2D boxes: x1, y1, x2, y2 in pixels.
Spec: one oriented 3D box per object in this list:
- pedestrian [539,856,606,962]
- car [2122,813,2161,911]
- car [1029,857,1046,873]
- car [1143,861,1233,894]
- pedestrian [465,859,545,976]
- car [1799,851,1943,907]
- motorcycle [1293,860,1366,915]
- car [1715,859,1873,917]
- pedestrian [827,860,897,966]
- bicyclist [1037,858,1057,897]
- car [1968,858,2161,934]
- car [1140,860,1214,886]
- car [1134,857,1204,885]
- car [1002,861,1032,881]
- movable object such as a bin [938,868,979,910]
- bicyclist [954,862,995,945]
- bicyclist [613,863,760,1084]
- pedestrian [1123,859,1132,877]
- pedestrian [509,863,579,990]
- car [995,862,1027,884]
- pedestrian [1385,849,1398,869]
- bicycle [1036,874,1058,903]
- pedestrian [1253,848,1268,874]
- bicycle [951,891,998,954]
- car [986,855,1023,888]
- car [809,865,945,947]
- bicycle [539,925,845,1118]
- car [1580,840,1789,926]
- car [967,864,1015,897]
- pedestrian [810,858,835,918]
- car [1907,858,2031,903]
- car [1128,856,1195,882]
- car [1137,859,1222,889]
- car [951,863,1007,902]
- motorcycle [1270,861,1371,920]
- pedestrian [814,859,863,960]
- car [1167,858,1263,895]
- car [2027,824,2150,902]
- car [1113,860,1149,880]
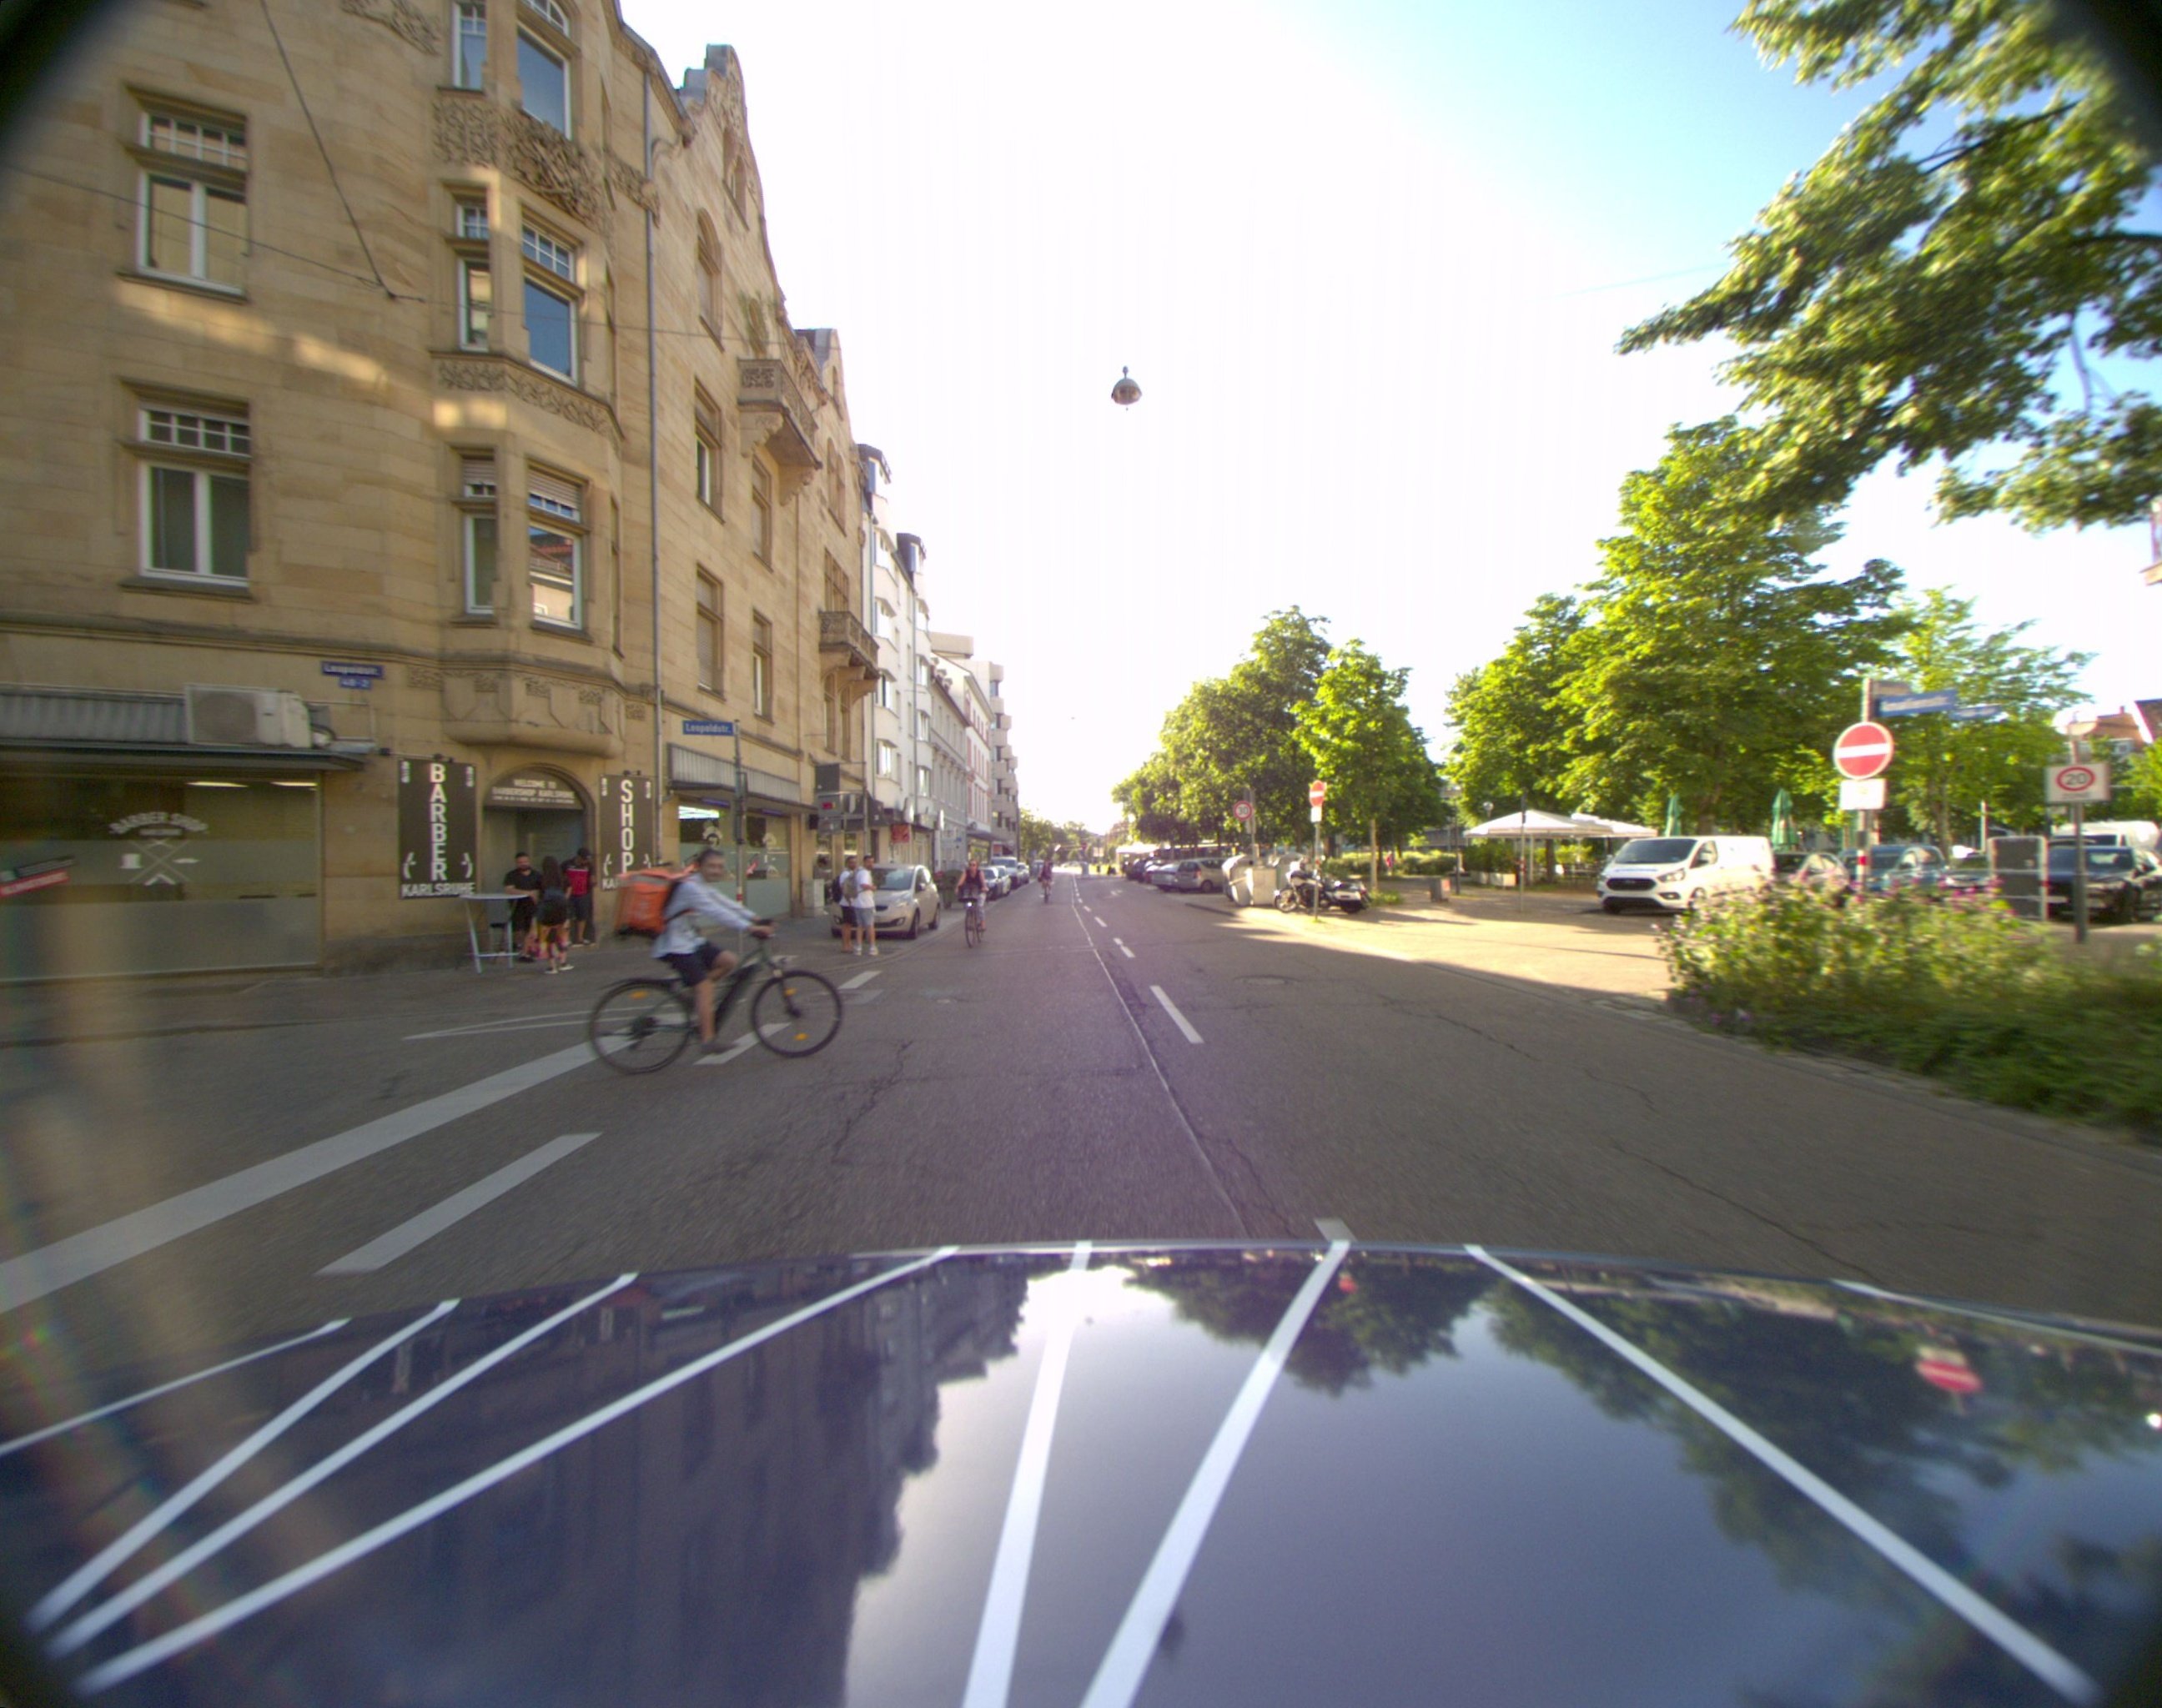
[{"bbox_3d":[-8.357,0.877,12.497,0.498,1.682,0.717,-1,1,26],"label":"pedestrian"},{"bbox_3d":[33.092,0.241,22.078,7.030,2.685,2.209,1,-1,-27],"label":"car"},{"bbox_3d":[-5.783,1.466,100.951,1.999,2.002,4.000,-1,0,-1],"label":"car"},{"bbox_3d":[5.260,1.109,37.228,4.007,1.433,1.995,-1,0,-32],"label":"car"},{"bbox_3d":[-8.674,0.931,11.456,0.618,1.682,0.717,-1,1,26],"label":"pedestrian"},{"bbox_3d":[24.551,0.748,23.608,4.157,1.602,1.924,1,-1,-26],"label":"car"},{"bbox_3d":[6.661,0.881,20.390,1.750,1.415,0.831,-1,0,26],"label":"motorcycle"},{"bbox_3d":[20.146,0.922,21.468,4.157,1.508,1.924,1,-1,-26],"label":"car"},{"bbox_3d":[-3.714,0.970,12.924,0.693,1.709,0.897,2,0,23],"label":"pedestrian"},{"bbox_3d":[-1.392,0.960,31.442,0.718,1.553,0.864,-1,0,2],"label":"bicyclist"},{"bbox_3d":[22.034,0.858,16.868,4.389,1.508,1.924,1,-1,-25],"label":"car"},{"bbox_3d":[5.860,1.145,46.585,4.002,1.465,1.998,-1,0,-14],"label":"car"},{"bbox_3d":[5.693,1.060,49.264,4.004,1.635,2.099,-1,1,-21],"label":"car"},{"bbox_3d":[-4.817,1.280,57.796,1.999,1.444,3.954,2,0,-2],"label":"car"},{"bbox_3d":[-4.432,1.253,27.700,1.147,1.413,1.411,2,0,3],"label":"movable object such as a bin"},{"bbox_3d":[-2.067,0.941,14.848,0.658,1.562,0.909,-1,0,-1],"label":"bicyclist"},{"bbox_3d":[-2.945,0.838,5.757,0.891,1.516,0.668,-1,0,-22],"label":"bicyclist"},{"bbox_3d":[4.057,1.211,66.705,0.691,1.578,0.615,-1,0,9],"label":"pedestrian"},{"bbox_3d":[-7.576,0.986,10.719,0.617,1.682,0.677,2,2,43],"label":"pedestrian"},{"bbox_3d":[-4.849,1.307,52.944,1.999,1.444,3.869,2,0,-2],"label":"car"},{"bbox_3d":[19.030,0.306,46.537,0.527,1.249,0.519,0,0,-19],"label":"pedestrian"},{"bbox_3d":[-1.386,1.400,31.532,0.718,1.105,2.269,-1,0,2],"label":"bicycle"},{"bbox_3d":[8.995,0.349,38.145,0.521,1.249,0.525,0,0,-34],"label":"pedestrian"},{"bbox_3d":[-2.060,1.302,14.907,0.666,1.061,1.836,-1,0,-1],"label":"bicycle"},{"bbox_3d":[-4.732,1.065,47.824,1.999,1.941,5.100,2,0,-3],"label":"car"},{"bbox_3d":[-4.467,1.069,17.317,1.978,1.564,4.126,2,0,-1],"label":"car"},{"bbox_3d":[-2.854,1.192,5.788,1.946,1.151,0.668,-1,0,-22],"label":"bicycle"},{"bbox_3d":[15.247,0.685,19.158,5.336,1.933,2.070,1,-1,-27],"label":"car"},{"bbox_3d":[-4.493,1.288,38.466,1.999,1.482,4.000,2,0,-1],"label":"car"},{"bbox_3d":[-7.588,0.983,22.301,0.536,1.732,0.598,-1,0,-5],"label":"pedestrian"},{"bbox_3d":[31.934,0.928,27.308,4.157,1.508,1.924,1,-1,-26],"label":"car"},{"bbox_3d":[5.497,1.010,51.943,4.004,1.683,1.997,-1,0,-20],"label":"car"},{"bbox_3d":[5.242,1.044,40.375,4.005,1.465,1.996,-1,0,-27],"label":"car"},{"bbox_3d":[-4.529,1.243,34.329,1.999,1.564,4.000,2,0,-1],"label":"car"},{"bbox_3d":[6.142,0.913,19.467,2.316,1.415,1.002,-1,0,26],"label":"motorcycle"},{"bbox_3d":[-4.269,0.951,13.357,0.699,1.709,0.693,2,0,-24],"label":"pedestrian"},{"bbox_3d":[6.201,1.007,35.026,4.007,1.553,1.995,-1,0,-32],"label":"car"},{"bbox_3d":[42.725,0.398,32.193,5.906,3.067,2.114,1,-1,-27],"label":"car"},{"bbox_3d":[3.856,1.222,58.256,1.771,1.421,4.006,-1,0,19],"label":"car"}]
